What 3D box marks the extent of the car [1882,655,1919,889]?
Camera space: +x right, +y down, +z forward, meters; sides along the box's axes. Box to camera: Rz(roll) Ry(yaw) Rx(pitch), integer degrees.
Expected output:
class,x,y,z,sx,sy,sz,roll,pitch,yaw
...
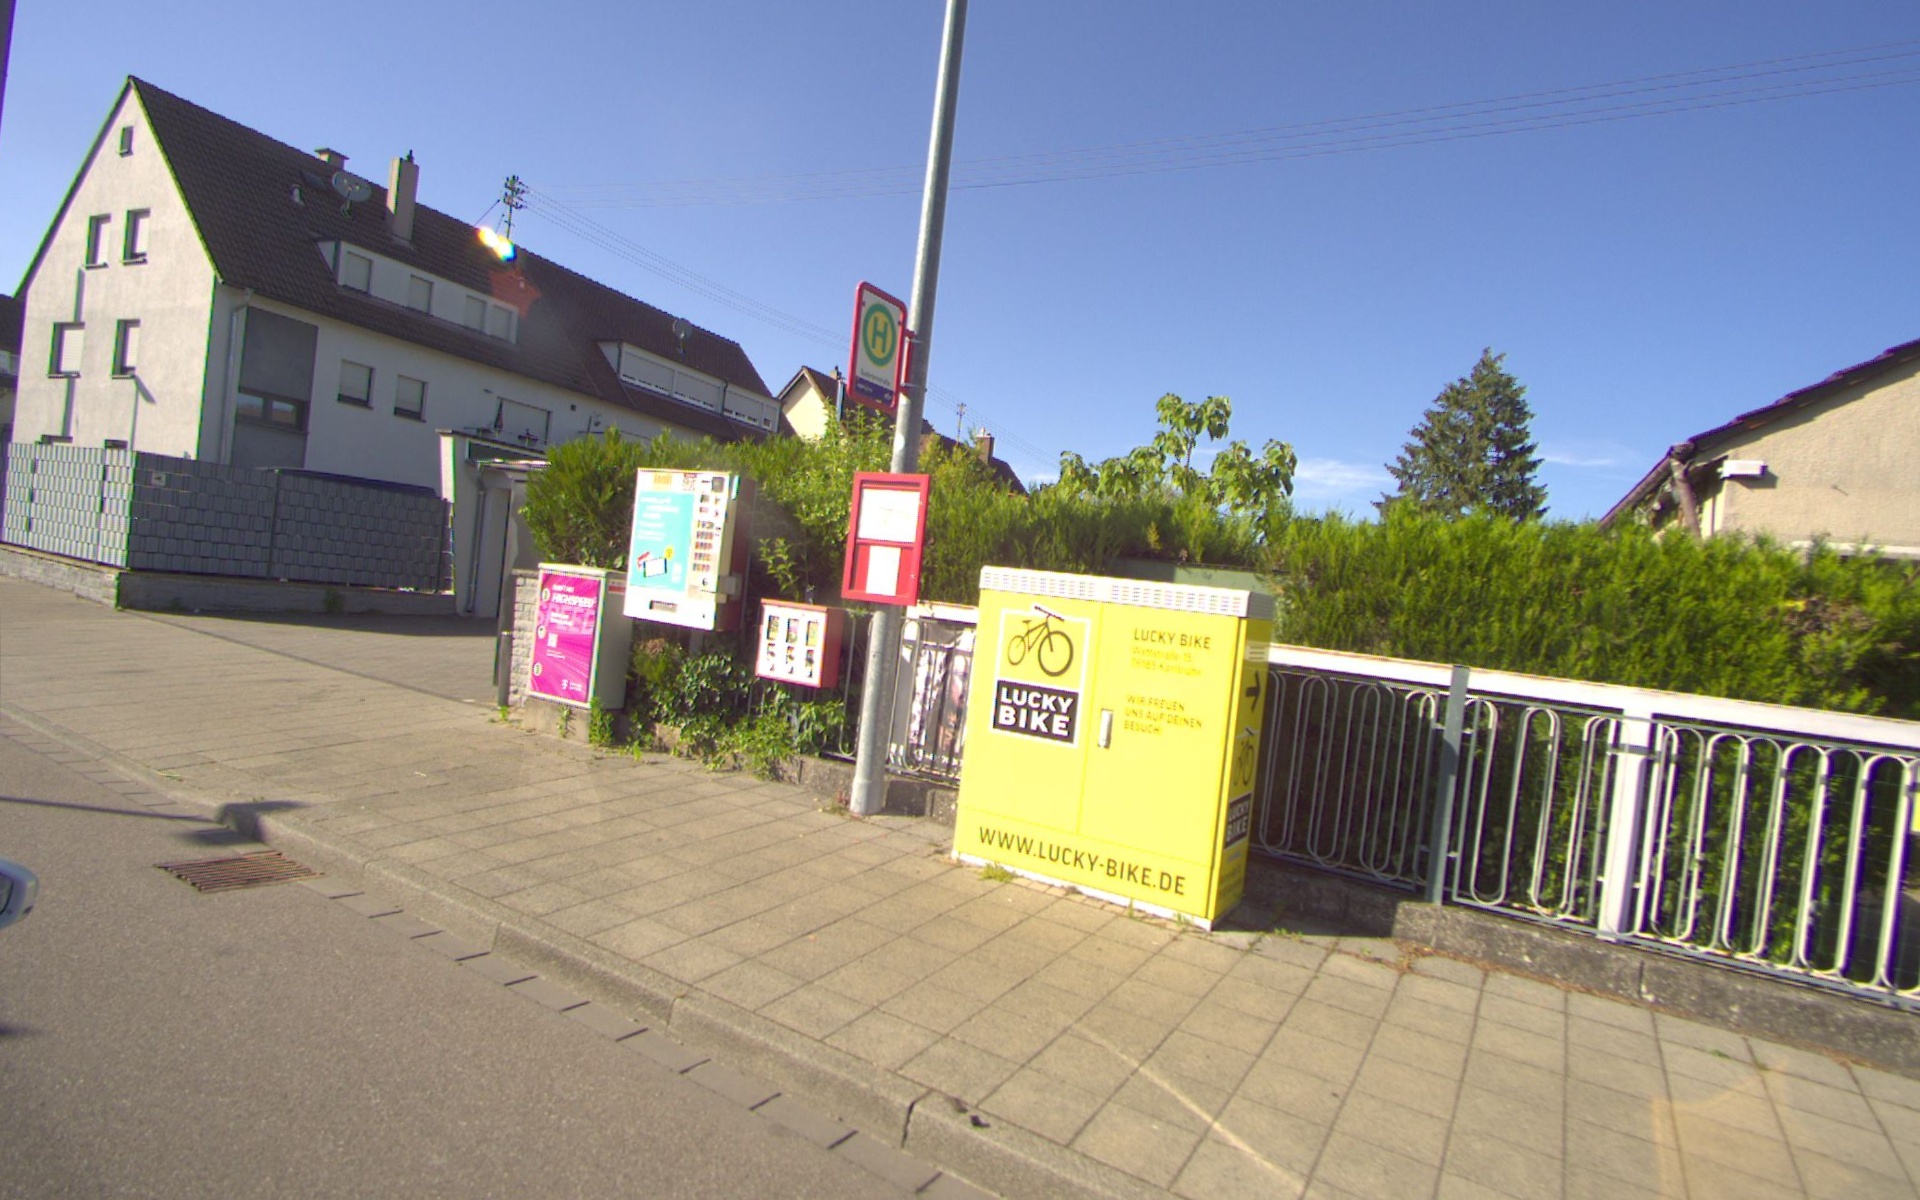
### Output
class,x,y,z,sx,sy,sz,roll,pitch,yaw
car,6.908,1.239,5.252,1.720,1.590,3.768,6,1,22
